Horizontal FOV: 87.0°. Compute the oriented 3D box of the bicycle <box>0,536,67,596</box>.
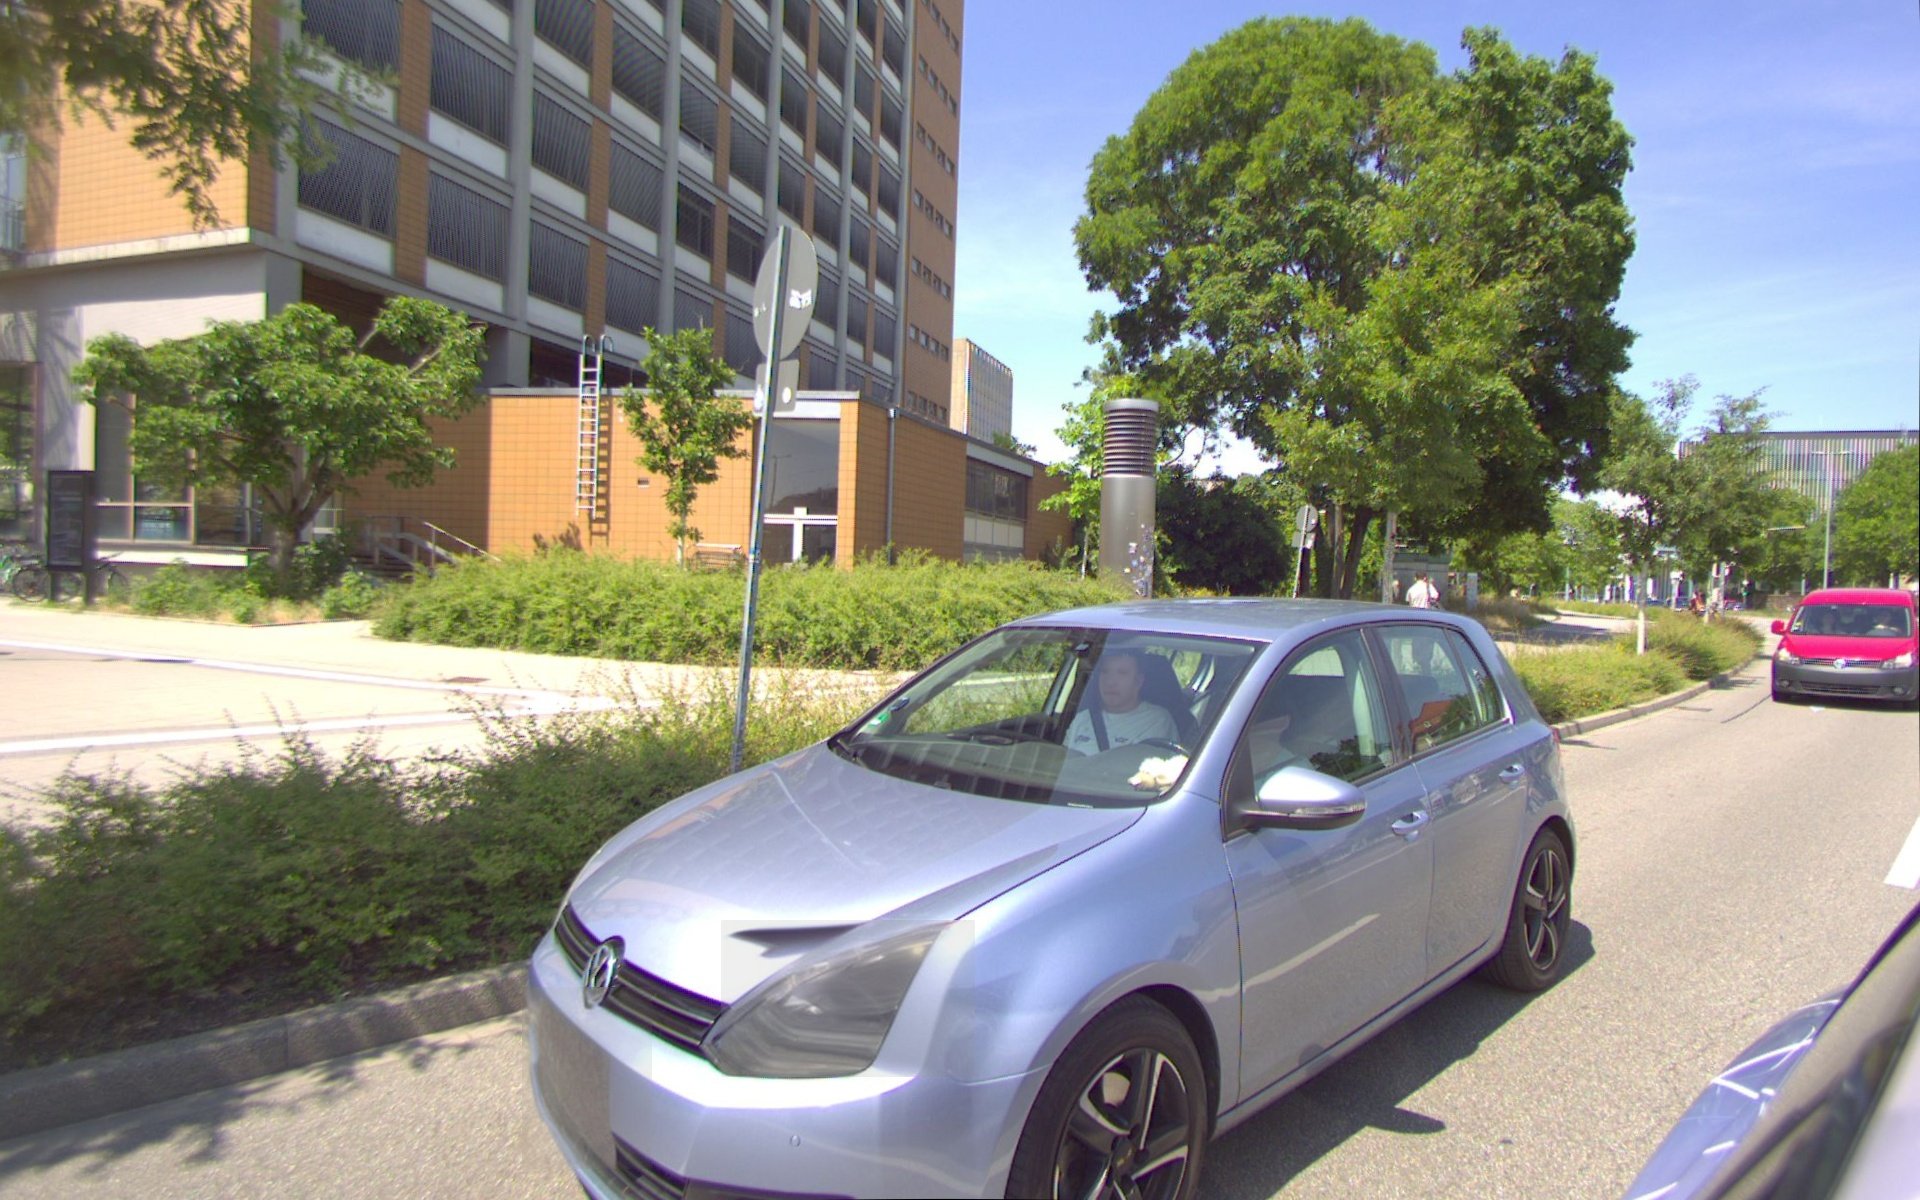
[{"bbox_3d":[-20.085,-0.701,21.061,0.629,1.233,2.202,0,0,22],"label":"bicycle"}]

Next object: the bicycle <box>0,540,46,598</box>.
[{"bbox_3d":[-20.765,-0.654,21.310,0.629,1.233,2.202,0,0,22],"label":"bicycle"}]

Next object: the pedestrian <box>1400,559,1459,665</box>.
[{"bbox_3d":[8.333,0.199,17.963,0.603,1.820,0.728,1,1,-40],"label":"pedestrian"}]

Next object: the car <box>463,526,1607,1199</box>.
[{"bbox_3d":[0.658,0.629,3.457,3.935,1.477,1.653,0,0,-42],"label":"car"}]

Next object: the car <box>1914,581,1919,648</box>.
[{"bbox_3d":[29.080,0.443,29.181,1.963,1.995,4.779,0,0,40],"label":"car"}]

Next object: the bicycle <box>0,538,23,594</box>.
[{"bbox_3d":[-21.483,-0.737,21.560,0.629,1.233,2.202,0,0,22],"label":"bicycle"}]

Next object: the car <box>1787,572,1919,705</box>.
[{"bbox_3d":[14.619,0.541,16.418,1.650,1.882,4.476,1,1,42],"label":"car"}]
